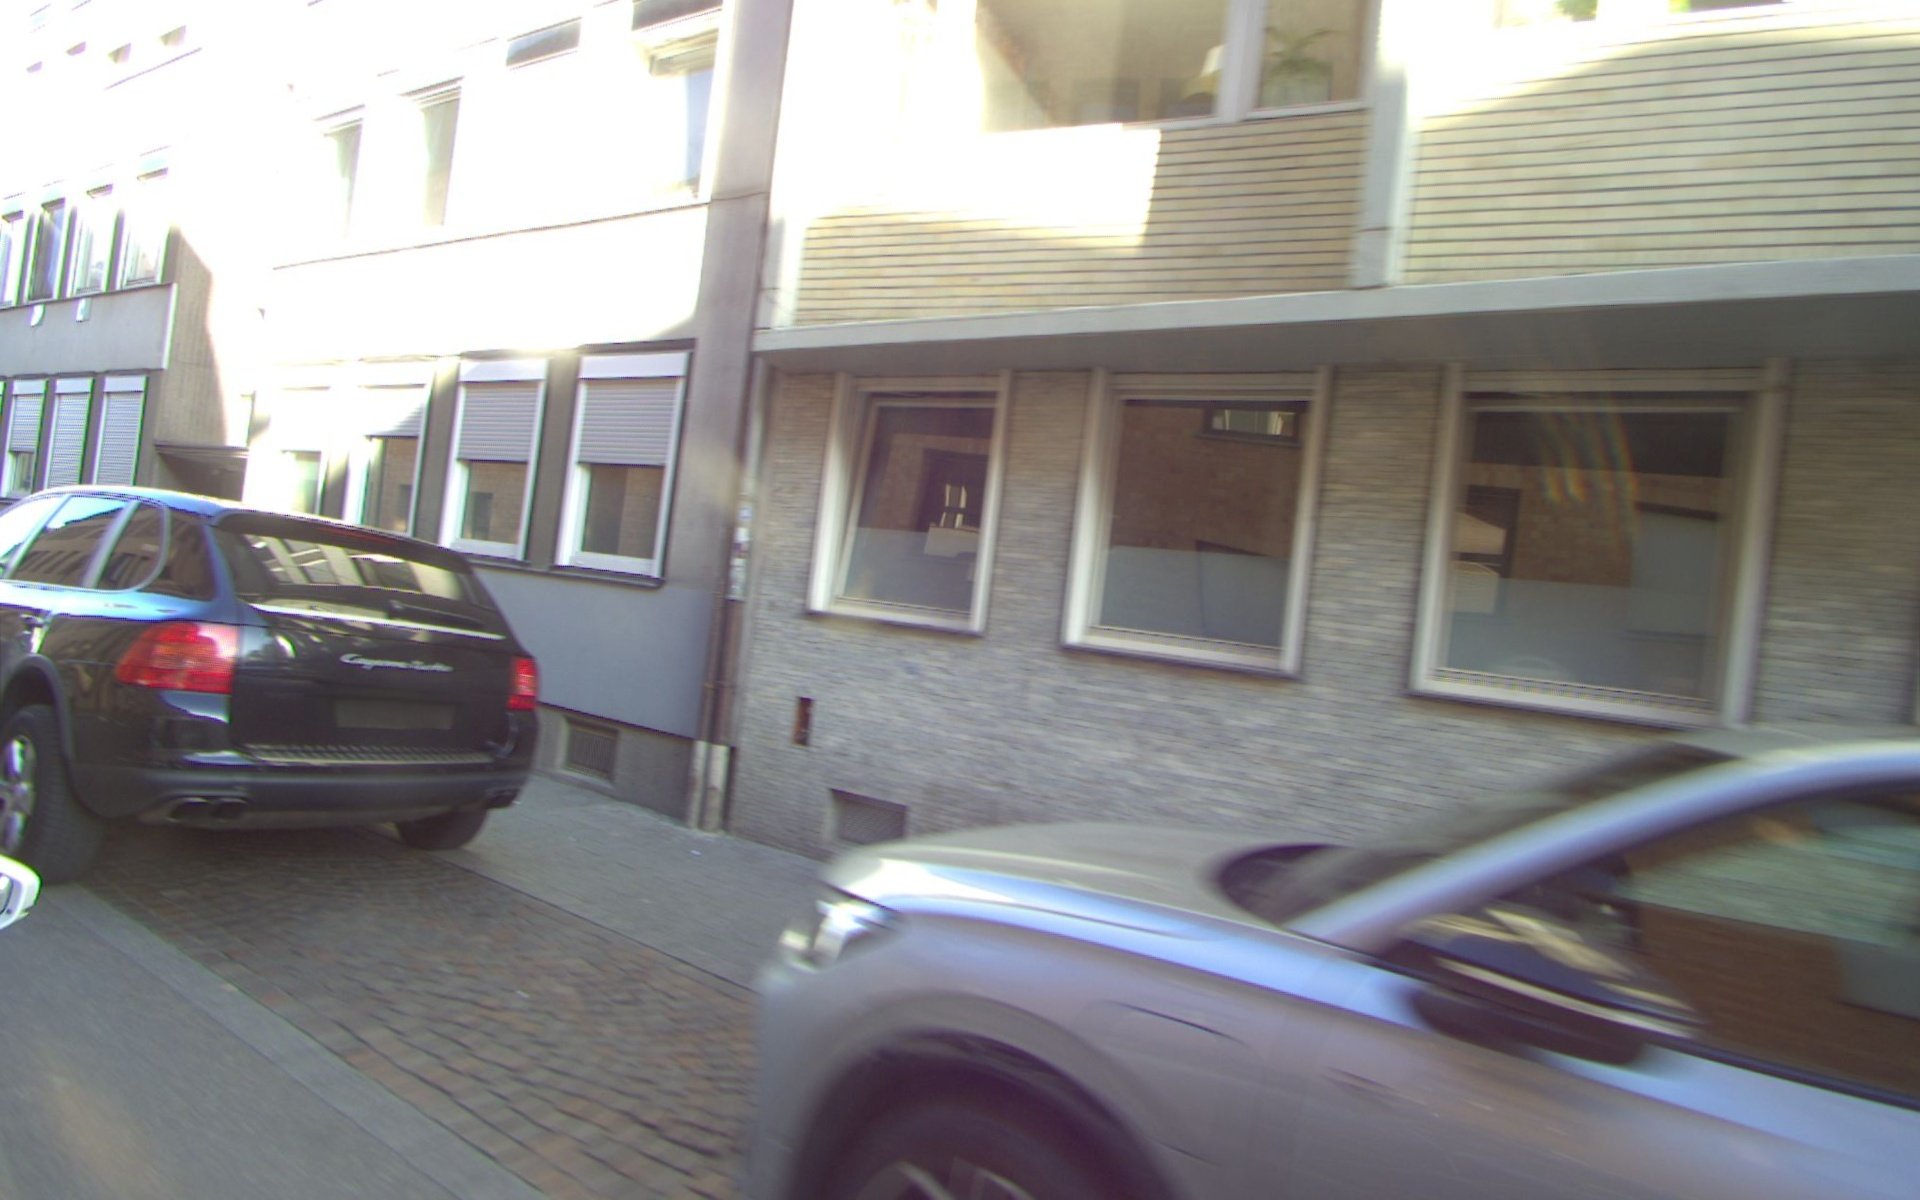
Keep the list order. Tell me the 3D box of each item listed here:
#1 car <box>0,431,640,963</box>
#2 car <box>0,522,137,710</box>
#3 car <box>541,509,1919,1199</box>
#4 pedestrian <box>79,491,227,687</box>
[{"bbox_3d":[-4.403,0.219,5.639,4.969,1.805,2.108,6,-3,32],"label":"car"},{"bbox_3d":[-9.527,-0.126,8.908,4.709,1.427,1.813,7,-4,30],"label":"car"},{"bbox_3d":[1.706,1.014,1.757,4.763,1.720,1.999,6,-4,32],"label":"car"},{"bbox_3d":[-7.684,-0.097,9.586,0.734,1.743,0.789,7,1,31],"label":"pedestrian"}]
